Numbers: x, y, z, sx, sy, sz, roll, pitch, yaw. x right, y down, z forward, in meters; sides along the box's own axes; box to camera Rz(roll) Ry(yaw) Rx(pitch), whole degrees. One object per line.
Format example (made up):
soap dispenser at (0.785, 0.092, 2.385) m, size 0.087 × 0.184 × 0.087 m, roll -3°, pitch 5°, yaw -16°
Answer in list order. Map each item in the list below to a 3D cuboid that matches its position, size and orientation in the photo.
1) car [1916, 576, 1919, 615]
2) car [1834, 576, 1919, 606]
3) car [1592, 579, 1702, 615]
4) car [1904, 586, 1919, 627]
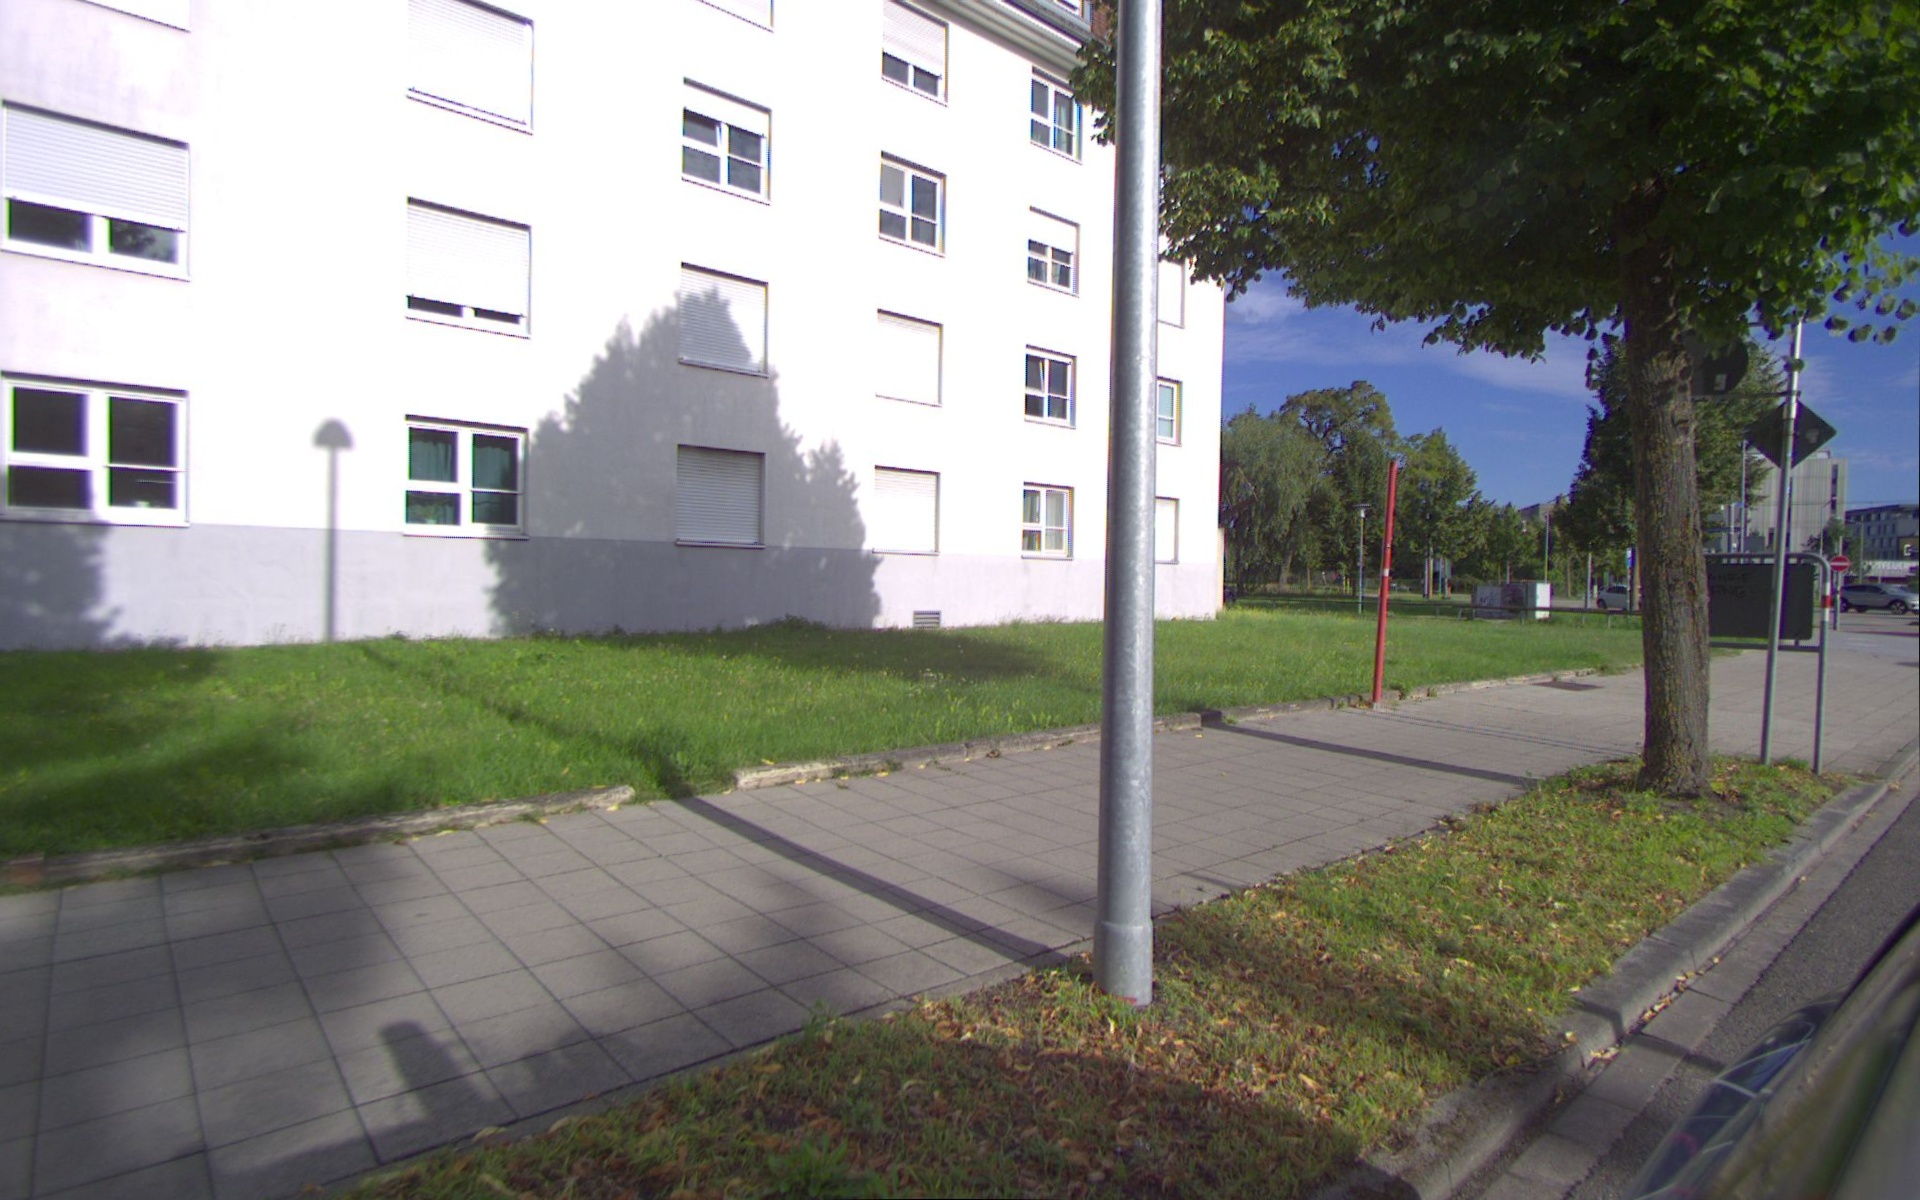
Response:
car at (47.606, -0.153, 46.180) m, size 2.434 × 1.890 × 6.245 m, roll 0°, pitch 1°, yaw 5°
car at (49.653, -0.495, 53.888) m, size 1.958 × 1.504 × 4.273 m, roll 0°, pitch 2°, yaw -22°
car at (37.445, -0.219, 55.376) m, size 1.802 × 1.890 × 5.413 m, roll 0°, pitch 1°, yaw -8°
car at (35.246, 0.294, 34.687) m, size 2.017 × 1.487 × 5.950 m, roll 0°, pitch 1°, yaw 20°
